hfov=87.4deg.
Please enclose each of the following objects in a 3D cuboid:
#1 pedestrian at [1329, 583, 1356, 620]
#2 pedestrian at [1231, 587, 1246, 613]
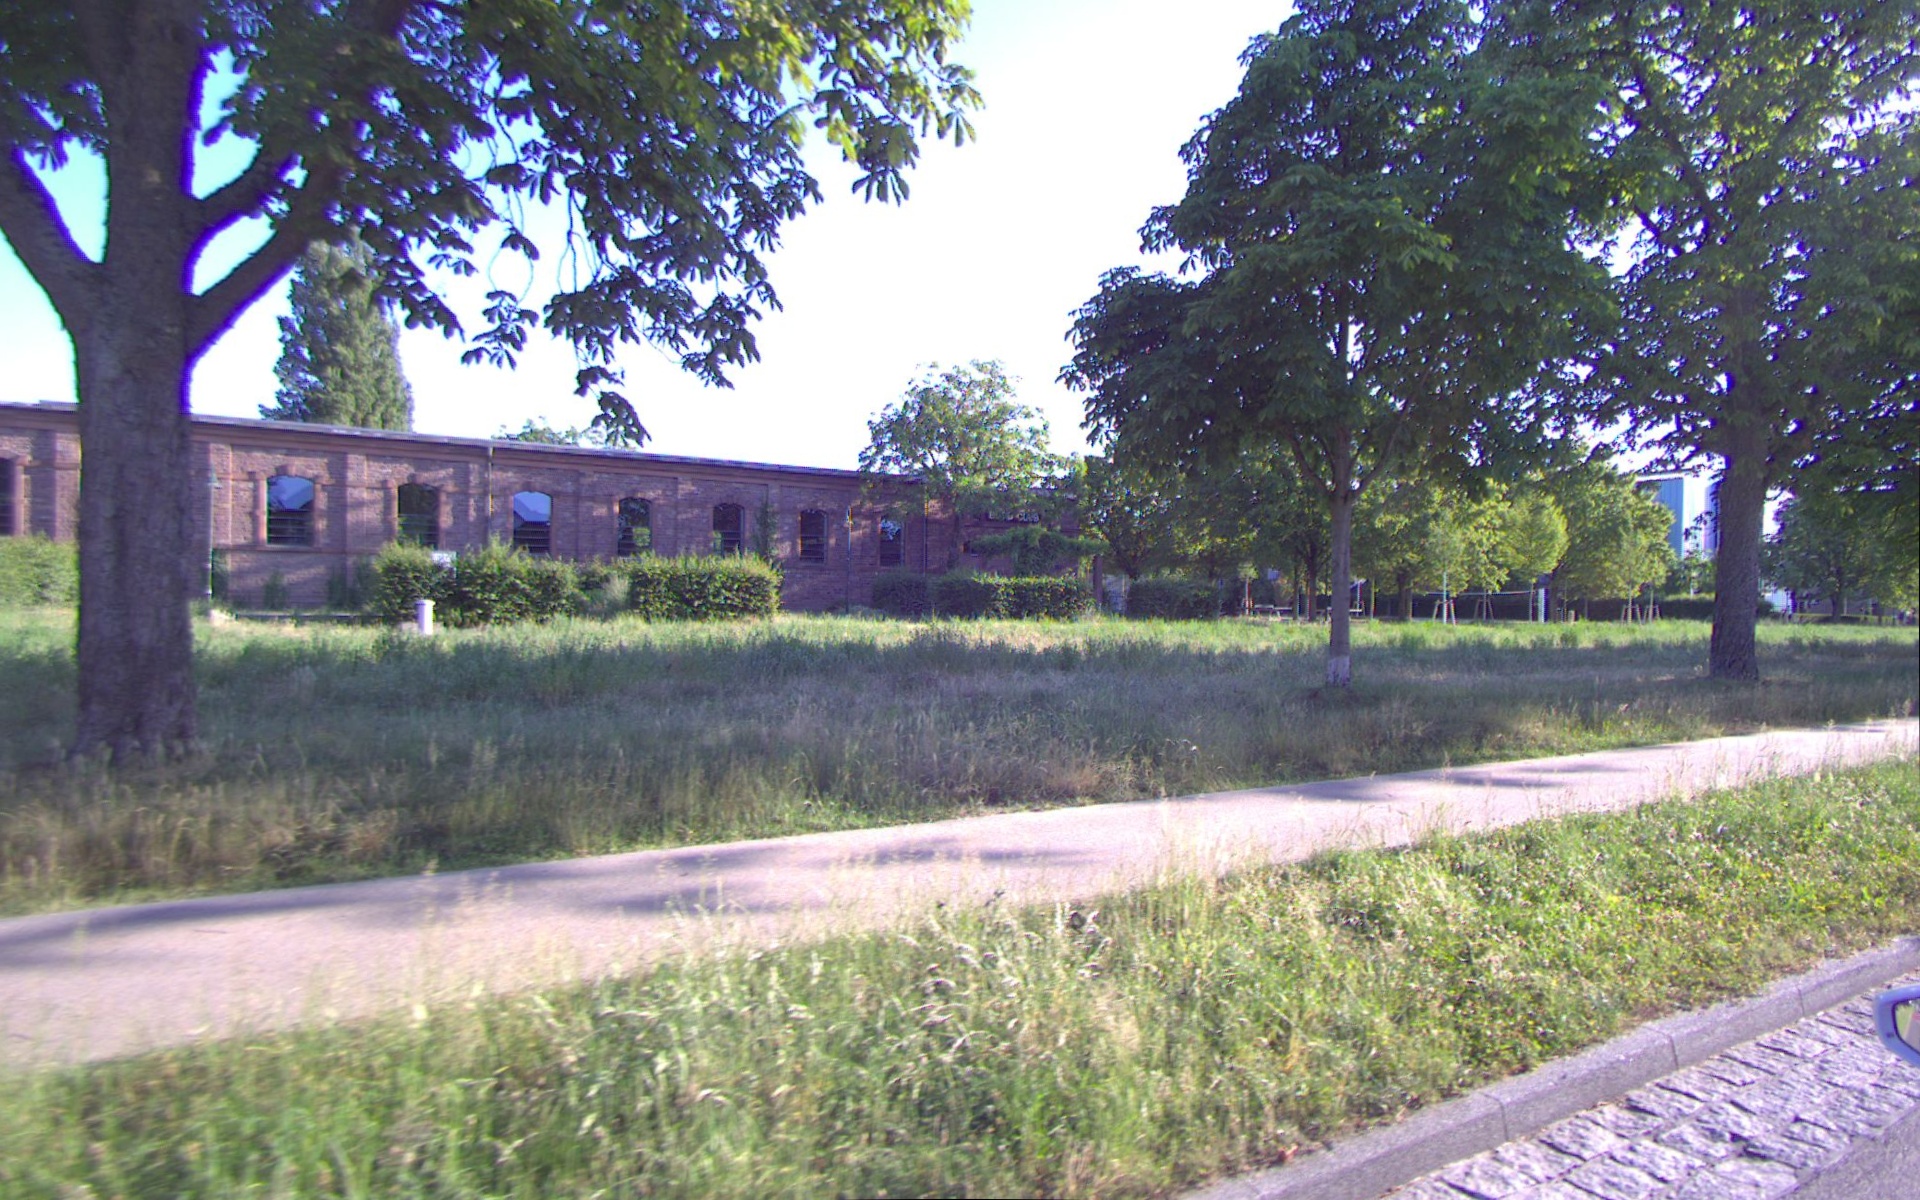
[{"bbox_3d":[20.669,0.076,54.327,0.787,1.906,1.044,2,2,-27],"label":"pedestrian"},{"bbox_3d":[16.393,0.000,59.163,0.497,1.498,0.583,1,2,-39],"label":"pedestrian"}]
